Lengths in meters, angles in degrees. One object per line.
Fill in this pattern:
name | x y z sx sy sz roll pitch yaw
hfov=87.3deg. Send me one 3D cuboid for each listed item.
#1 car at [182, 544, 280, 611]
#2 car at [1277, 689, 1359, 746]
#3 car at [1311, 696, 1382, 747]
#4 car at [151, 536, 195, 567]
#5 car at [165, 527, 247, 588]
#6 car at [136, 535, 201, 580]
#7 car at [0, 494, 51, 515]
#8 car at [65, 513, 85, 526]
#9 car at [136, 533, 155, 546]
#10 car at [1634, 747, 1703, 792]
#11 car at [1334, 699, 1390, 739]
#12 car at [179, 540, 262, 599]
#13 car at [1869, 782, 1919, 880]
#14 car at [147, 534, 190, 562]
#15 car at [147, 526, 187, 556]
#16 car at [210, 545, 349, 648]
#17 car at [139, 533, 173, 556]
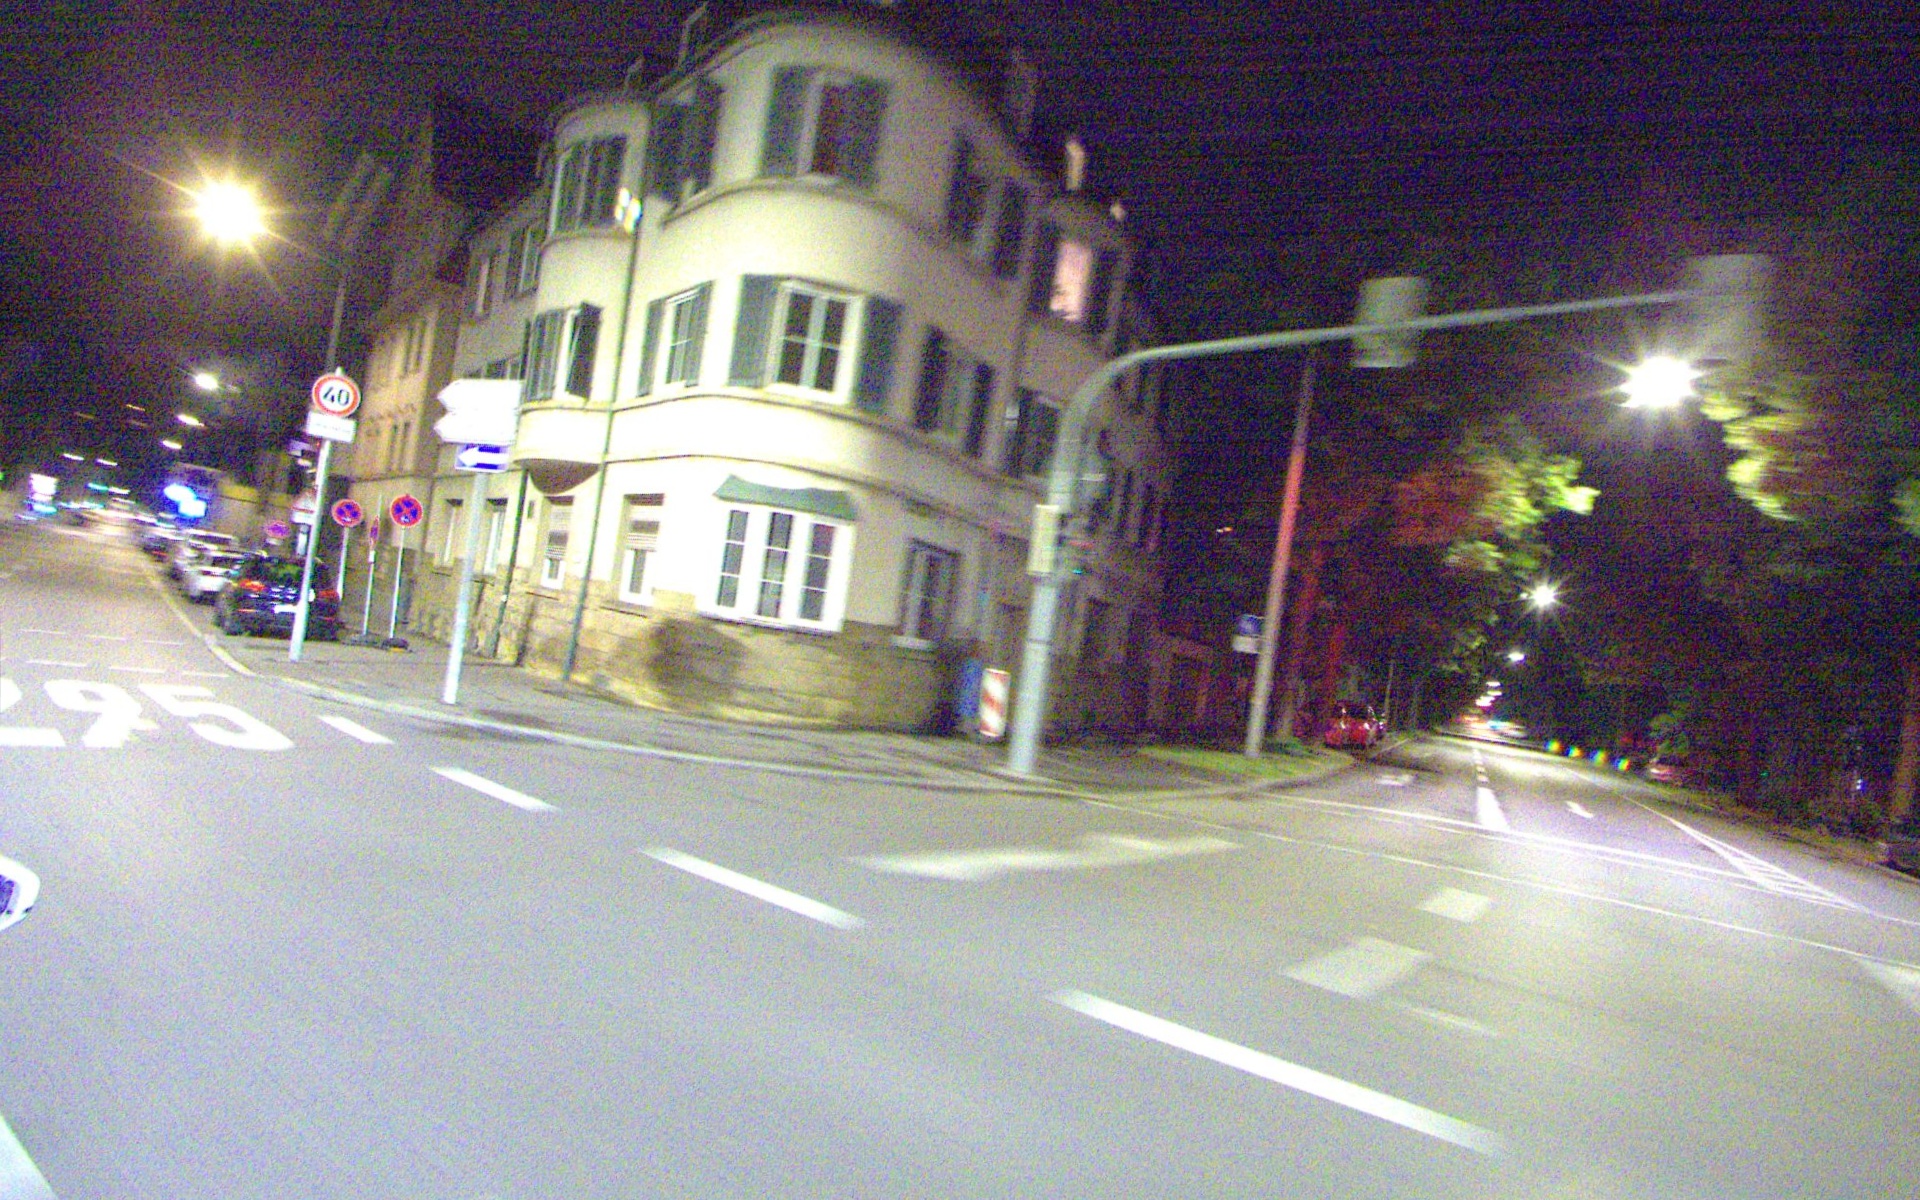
car | -20.723 -0.688 28.529 1.738 1.526 4.779 8 -2 -41
car | 12.134 3.993 33.942 1.965 1.521 4.001 7 -4 27
car | 14.570 4.579 37.786 1.965 1.521 4.001 7 -4 27
car | -45.307 -2.814 57.869 1.773 1.442 4.433 10 -4 -39
car | -29.159 -1.668 38.849 2.064 1.951 5.311 8 -2 -40
car | -34.322 -1.853 43.569 1.813 1.618 4.171 7 -1 -42
car | -111.989 -11.412 120.519 4.427 1.465 1.978 11 -4 -41
car | -136.764 -12.467 155.513 1.987 1.518 3.956 11 -4 -40
car | -118.912 -8.823 146.887 1.987 1.532 3.958 11 -3 -38
car | 33.631 8.073 47.861 1.965 1.679 3.908 8 -6 28
car | 19.247 5.695 48.087 1.965 1.521 4.001 7 -4 27
car | -24.088 -1.010 32.695 1.738 1.584 4.163 8 -2 -41
car | 18.261 4.325 18.022 1.966 1.606 3.998 7 -3 30
car | -49.835 -3.273 63.317 1.774 1.442 3.848 11 -4 -41
car | -58.804 -4.391 74.552 1.795 1.897 4.716 7 -1 -43
car | -13.993 -0.130 20.574 1.738 1.702 4.210 8 -2 -41
car | -62.316 -4.320 77.972 1.810 1.444 4.141 8 -2 -41
